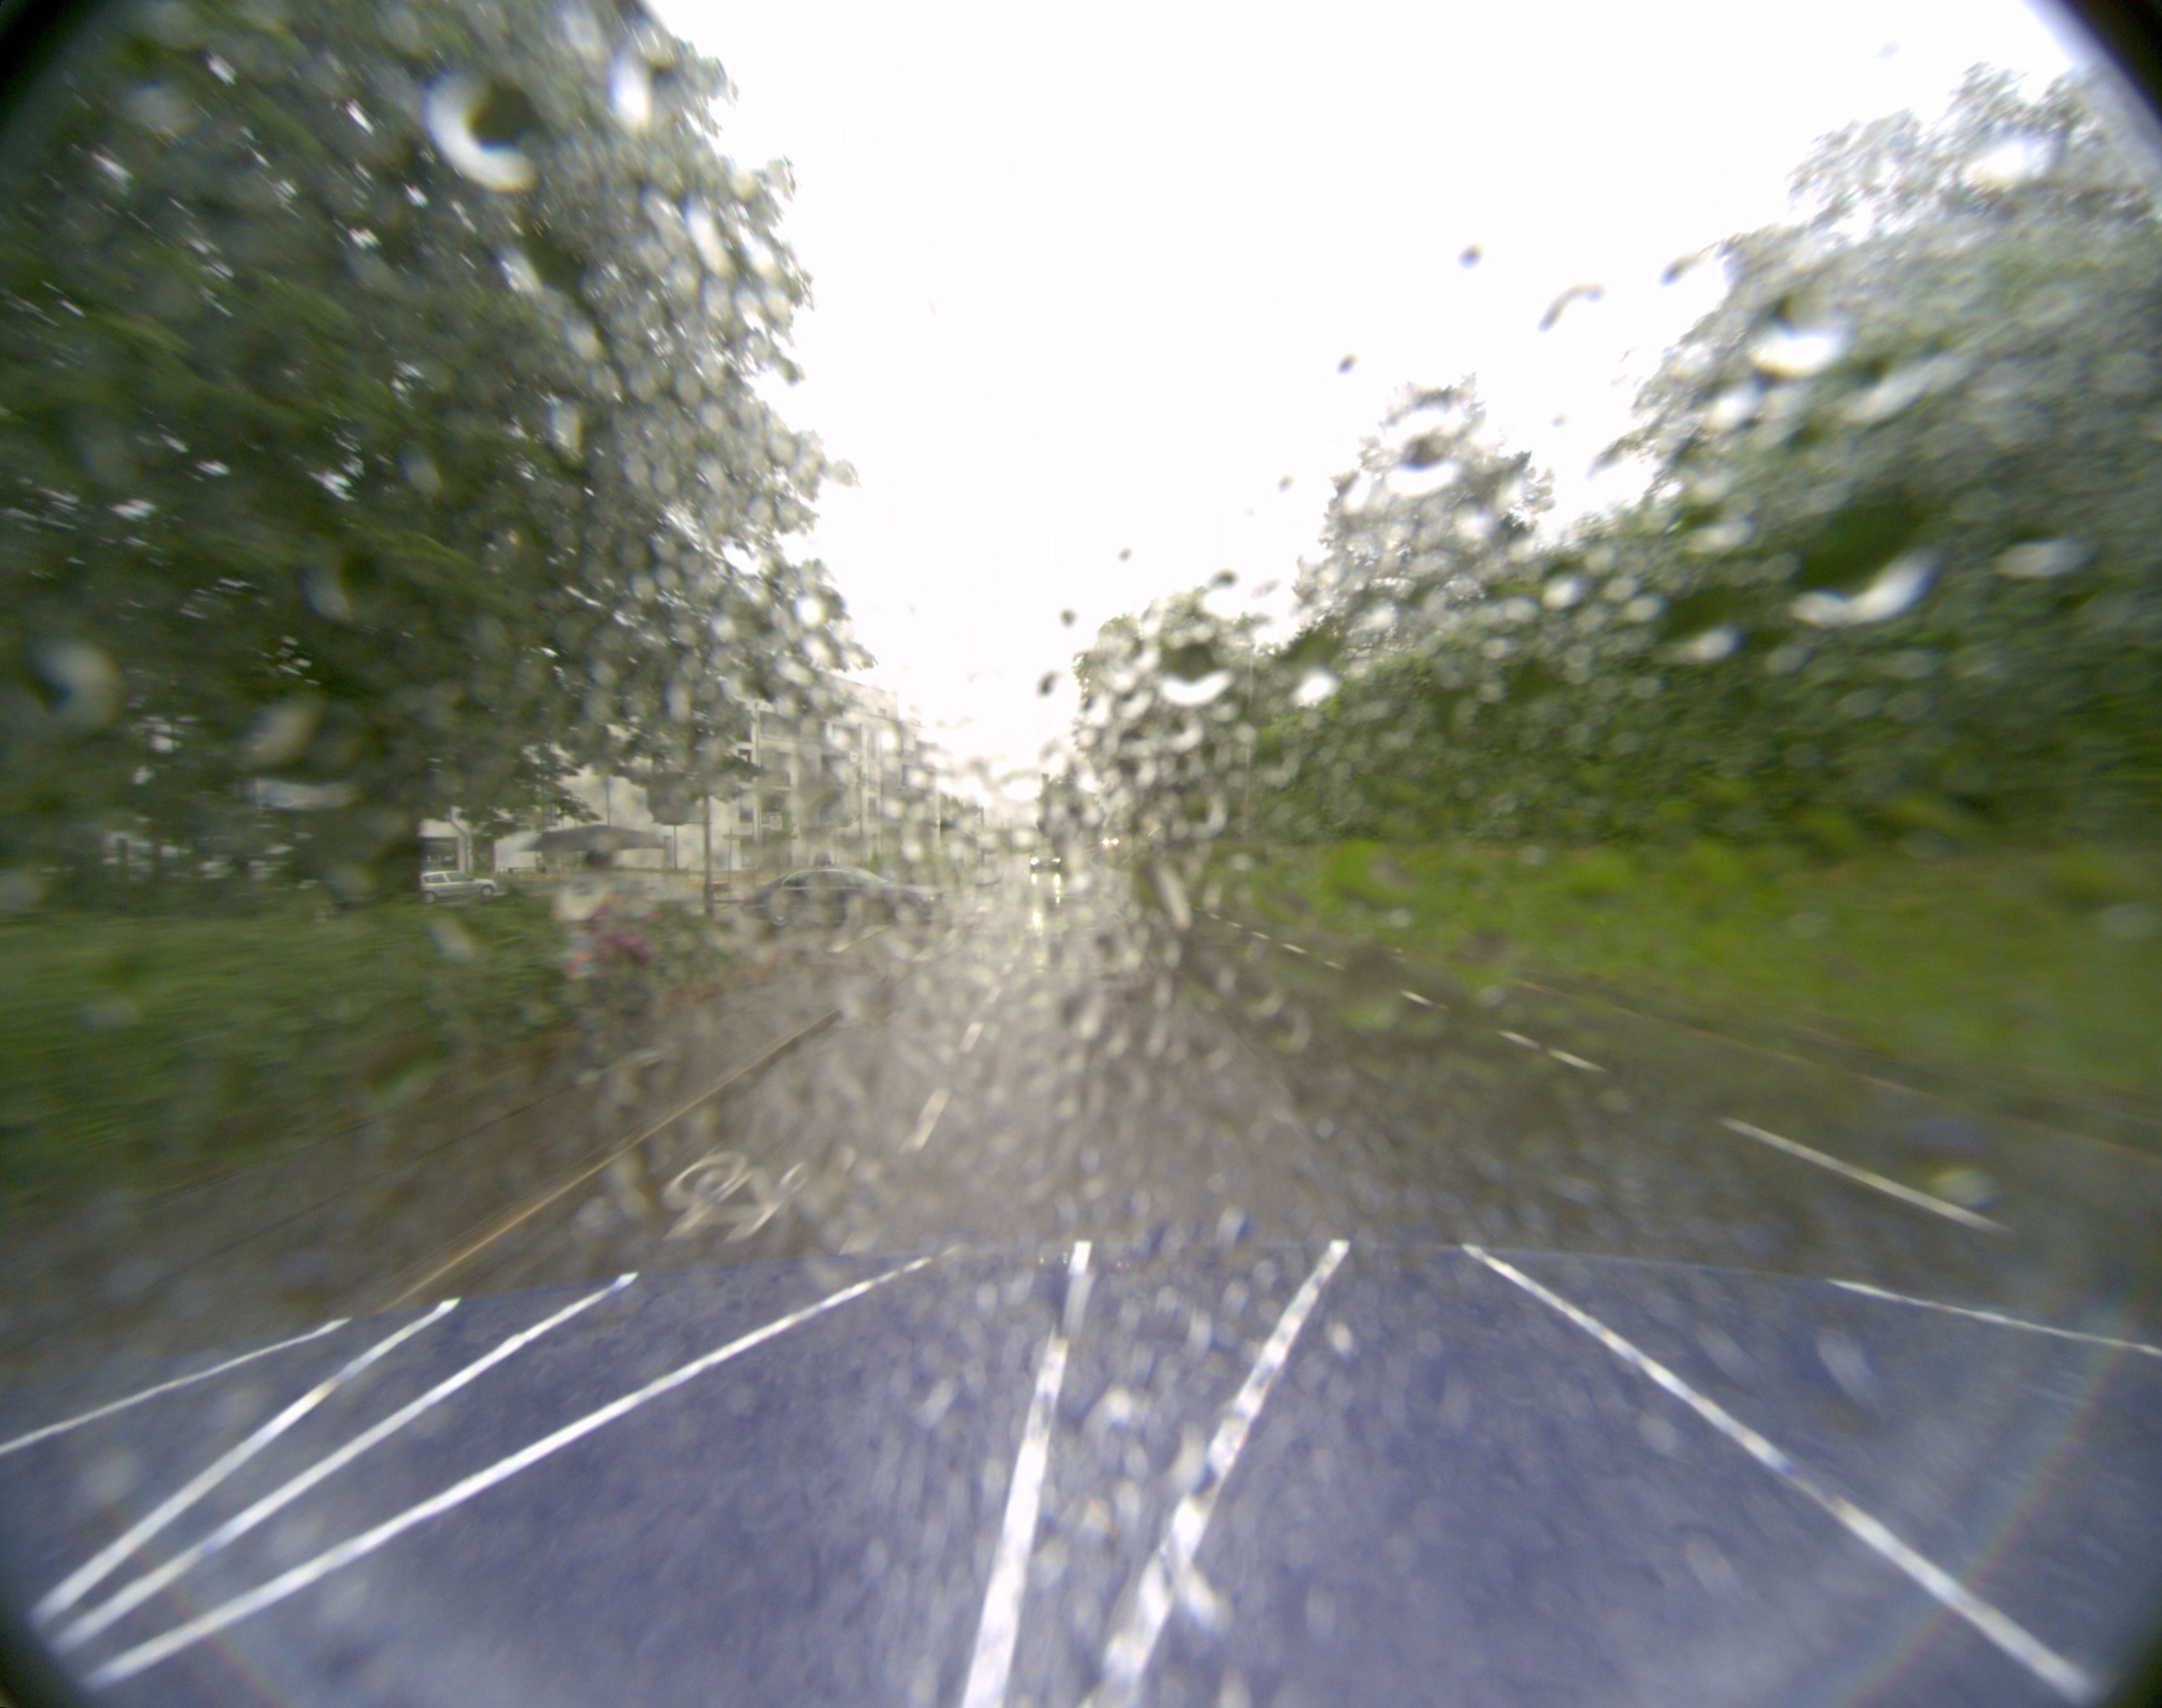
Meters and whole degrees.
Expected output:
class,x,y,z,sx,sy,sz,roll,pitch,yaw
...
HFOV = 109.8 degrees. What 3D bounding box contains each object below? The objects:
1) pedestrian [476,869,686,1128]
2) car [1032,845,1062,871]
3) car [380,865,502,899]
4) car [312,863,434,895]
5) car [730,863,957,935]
class,x,y,z,sx,sy,sz,roll,pitch,yaw
pedestrian,-3.205,0.869,4.959,0.770,1.517,0.873,1,0,1
car,-2.264,0.228,49.690,1.800,1.543,3.997,-2,2,-4
car,-29.597,1.260,35.290,1.756,1.413,4.006,0,0,19
car,-34.489,1.155,37.174,1.756,1.413,4.005,0,0,18
car,-5.581,1.039,18.266,4.809,1.406,1.808,-3,-1,0
